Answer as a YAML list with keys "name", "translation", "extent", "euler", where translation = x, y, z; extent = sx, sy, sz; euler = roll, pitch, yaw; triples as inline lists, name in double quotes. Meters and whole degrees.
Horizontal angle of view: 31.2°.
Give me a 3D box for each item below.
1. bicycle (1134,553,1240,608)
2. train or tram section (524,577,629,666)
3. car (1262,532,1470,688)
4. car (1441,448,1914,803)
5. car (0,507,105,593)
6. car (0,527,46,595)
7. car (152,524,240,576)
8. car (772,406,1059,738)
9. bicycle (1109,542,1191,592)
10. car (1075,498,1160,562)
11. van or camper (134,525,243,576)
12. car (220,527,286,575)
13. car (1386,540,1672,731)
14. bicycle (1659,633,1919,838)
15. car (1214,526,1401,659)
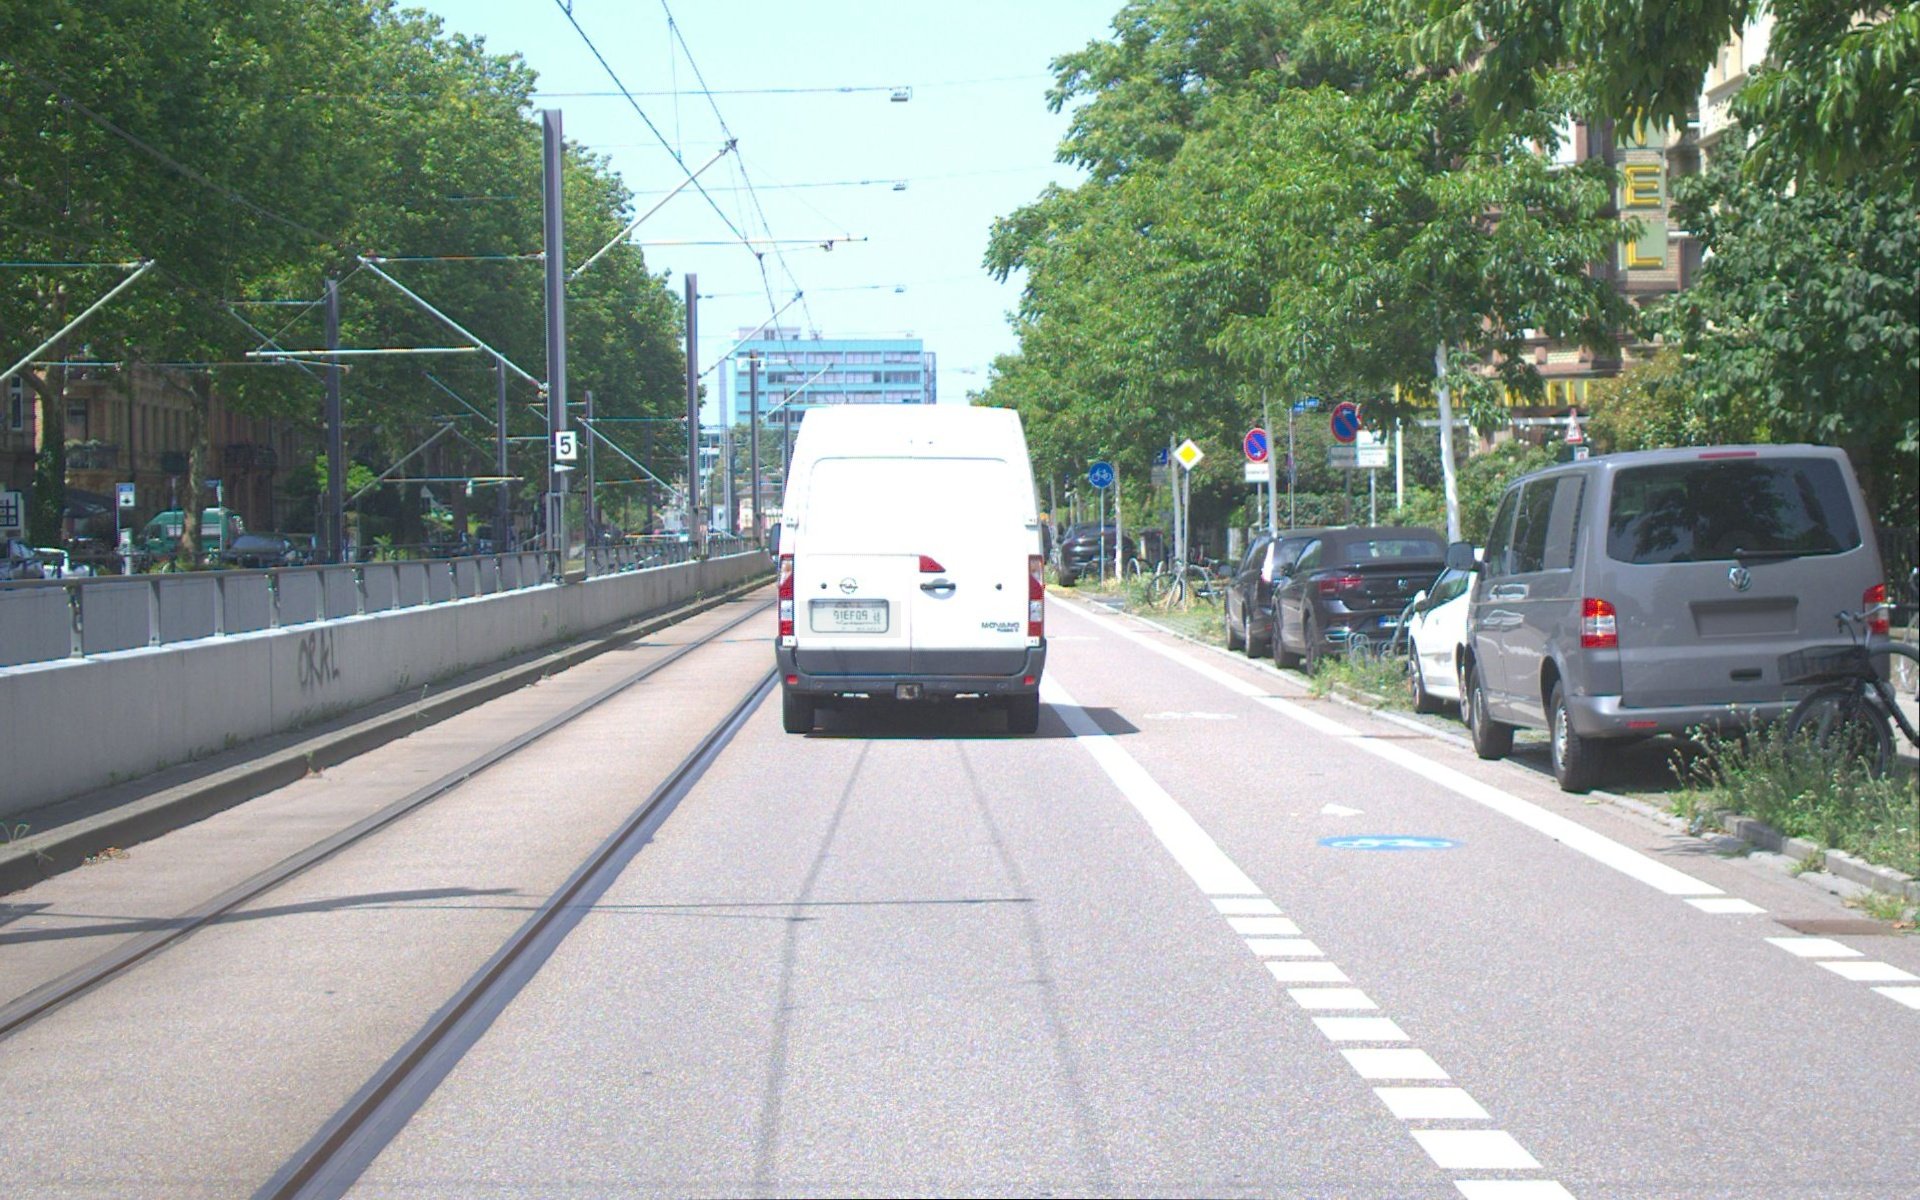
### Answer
- name: "bicycle"
  translation: [4.037, -0.344, 61.178]
  extent: [1.842, 0.950, 0.503]
  euler: [-1, 1, 1]
- name: "train or tram section"
  translation: [-11.798, 0.605, 106.434]
  extent: [2.729, 2.500, 8.518]
  euler: [0, 1, -3]
- name: "car"
  translation: [4.249, 0.060, 36.509]
  extent: [1.667, 1.525, 4.013]
  euler: [-1, 1, -1]
- name: "car"
  translation: [4.382, 0.083, 21.782]
  extent: [1.879, 1.941, 4.837]
  euler: [-2, 1, -1]
- name: "car"
  translation: [-20.873, -1.142, 78.009]
  extent: [1.993, 1.898, 4.149]
  euler: [0, 1, -2]
- name: "car"
  translation: [-20.877, -0.842, 73.136]
  extent: [1.852, 1.396, 4.198]
  euler: [0, 1, -2]
- name: "car"
  translation: [-21.398, -1.416, 96.433]
  extent: [1.592, 1.443, 4.000]
  euler: [0, 1, 0]
- name: "car"
  translation: [-0.413, -0.263, 27.970]
  extent: [2.117, 2.450, 5.055]
  euler: [0, 1, -2]
- name: "bicycle"
  translation: [4.479, -0.779, 81.067]
  extent: [1.887, 1.178, 0.640]
  euler: [0, 1, -2]
- name: "car"
  translation: [4.153, -1.865, 91.202]
  extent: [2.157, 1.664, 4.000]
  euler: [0, 1, 1]
- name: "van or camper"
  translation: [-31.280, -2.006, 139.468]
  extent: [3.986, 2.007, 2.000]
  euler: [-1, 1, -3]
- name: "car"
  translation: [-21.485, -1.489, 104.515]
  extent: [1.373, 1.419, 3.088]
  euler: [-1, 1, 0]
- name: "car"
  translation: [4.575, 0.234, 28.135]
  extent: [1.611, 1.401, 4.000]
  euler: [-1, 1, -1]
- name: "bicycle"
  translation: [4.562, 0.680, 17.590]
  extent: [1.880, 0.988, 0.470]
  euler: [-1, 1, -10]
- name: "car"
  translation: [4.176, -0.136, 41.887]
  extent: [1.729, 1.530, 4.405]
  euler: [0, 1, -1]
